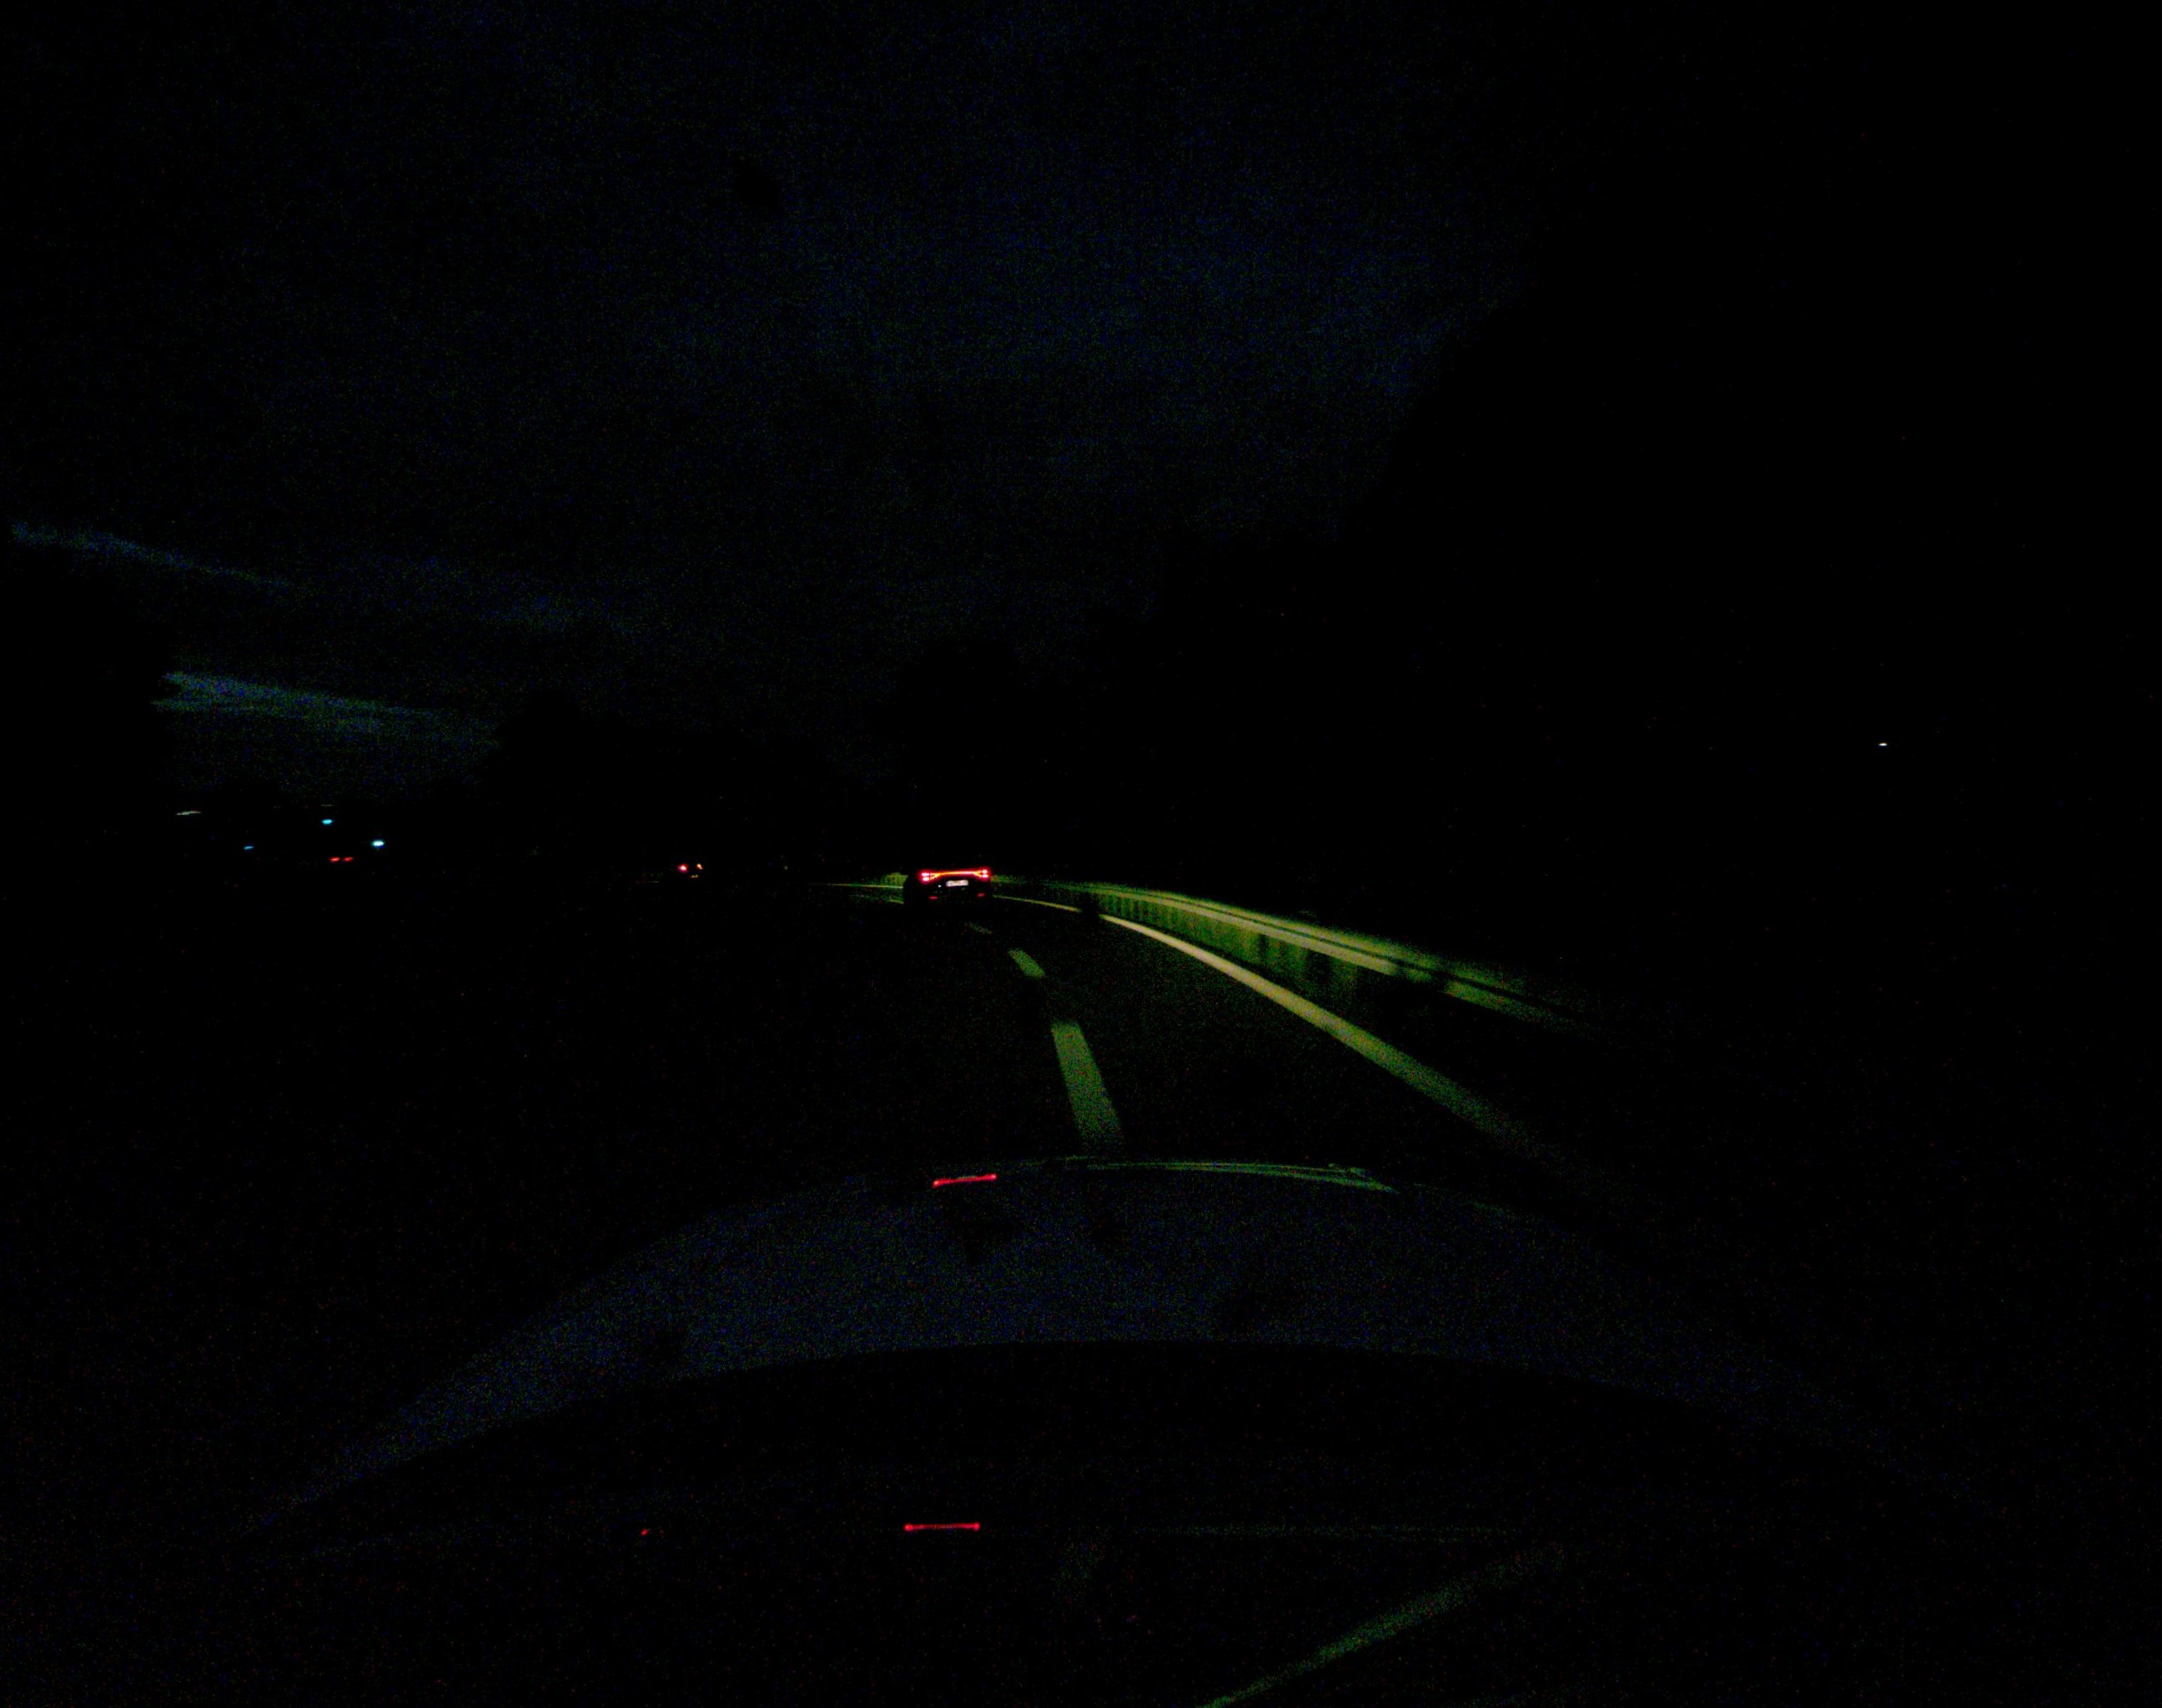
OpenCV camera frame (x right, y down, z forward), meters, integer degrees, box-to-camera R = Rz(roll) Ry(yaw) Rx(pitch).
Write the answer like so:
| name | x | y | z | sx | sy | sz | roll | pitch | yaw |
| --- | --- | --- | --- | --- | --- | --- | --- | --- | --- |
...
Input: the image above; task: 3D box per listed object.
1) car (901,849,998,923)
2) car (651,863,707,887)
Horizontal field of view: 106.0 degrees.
| name | x | y | z | sx | sy | sz | roll | pitch | yaw |
| --- | --- | --- | --- | --- | --- | --- | --- | --- | --- |
| car | -3.499 | 0.764 | 20.984 | 1.998 | 1.659 | 4.291 | -1 | 0 | -16 |
| car | -27.979 | 1.428 | 56.612 | 3.948 | 1.598 | 2.012 | 0 | -1 | 39 |
